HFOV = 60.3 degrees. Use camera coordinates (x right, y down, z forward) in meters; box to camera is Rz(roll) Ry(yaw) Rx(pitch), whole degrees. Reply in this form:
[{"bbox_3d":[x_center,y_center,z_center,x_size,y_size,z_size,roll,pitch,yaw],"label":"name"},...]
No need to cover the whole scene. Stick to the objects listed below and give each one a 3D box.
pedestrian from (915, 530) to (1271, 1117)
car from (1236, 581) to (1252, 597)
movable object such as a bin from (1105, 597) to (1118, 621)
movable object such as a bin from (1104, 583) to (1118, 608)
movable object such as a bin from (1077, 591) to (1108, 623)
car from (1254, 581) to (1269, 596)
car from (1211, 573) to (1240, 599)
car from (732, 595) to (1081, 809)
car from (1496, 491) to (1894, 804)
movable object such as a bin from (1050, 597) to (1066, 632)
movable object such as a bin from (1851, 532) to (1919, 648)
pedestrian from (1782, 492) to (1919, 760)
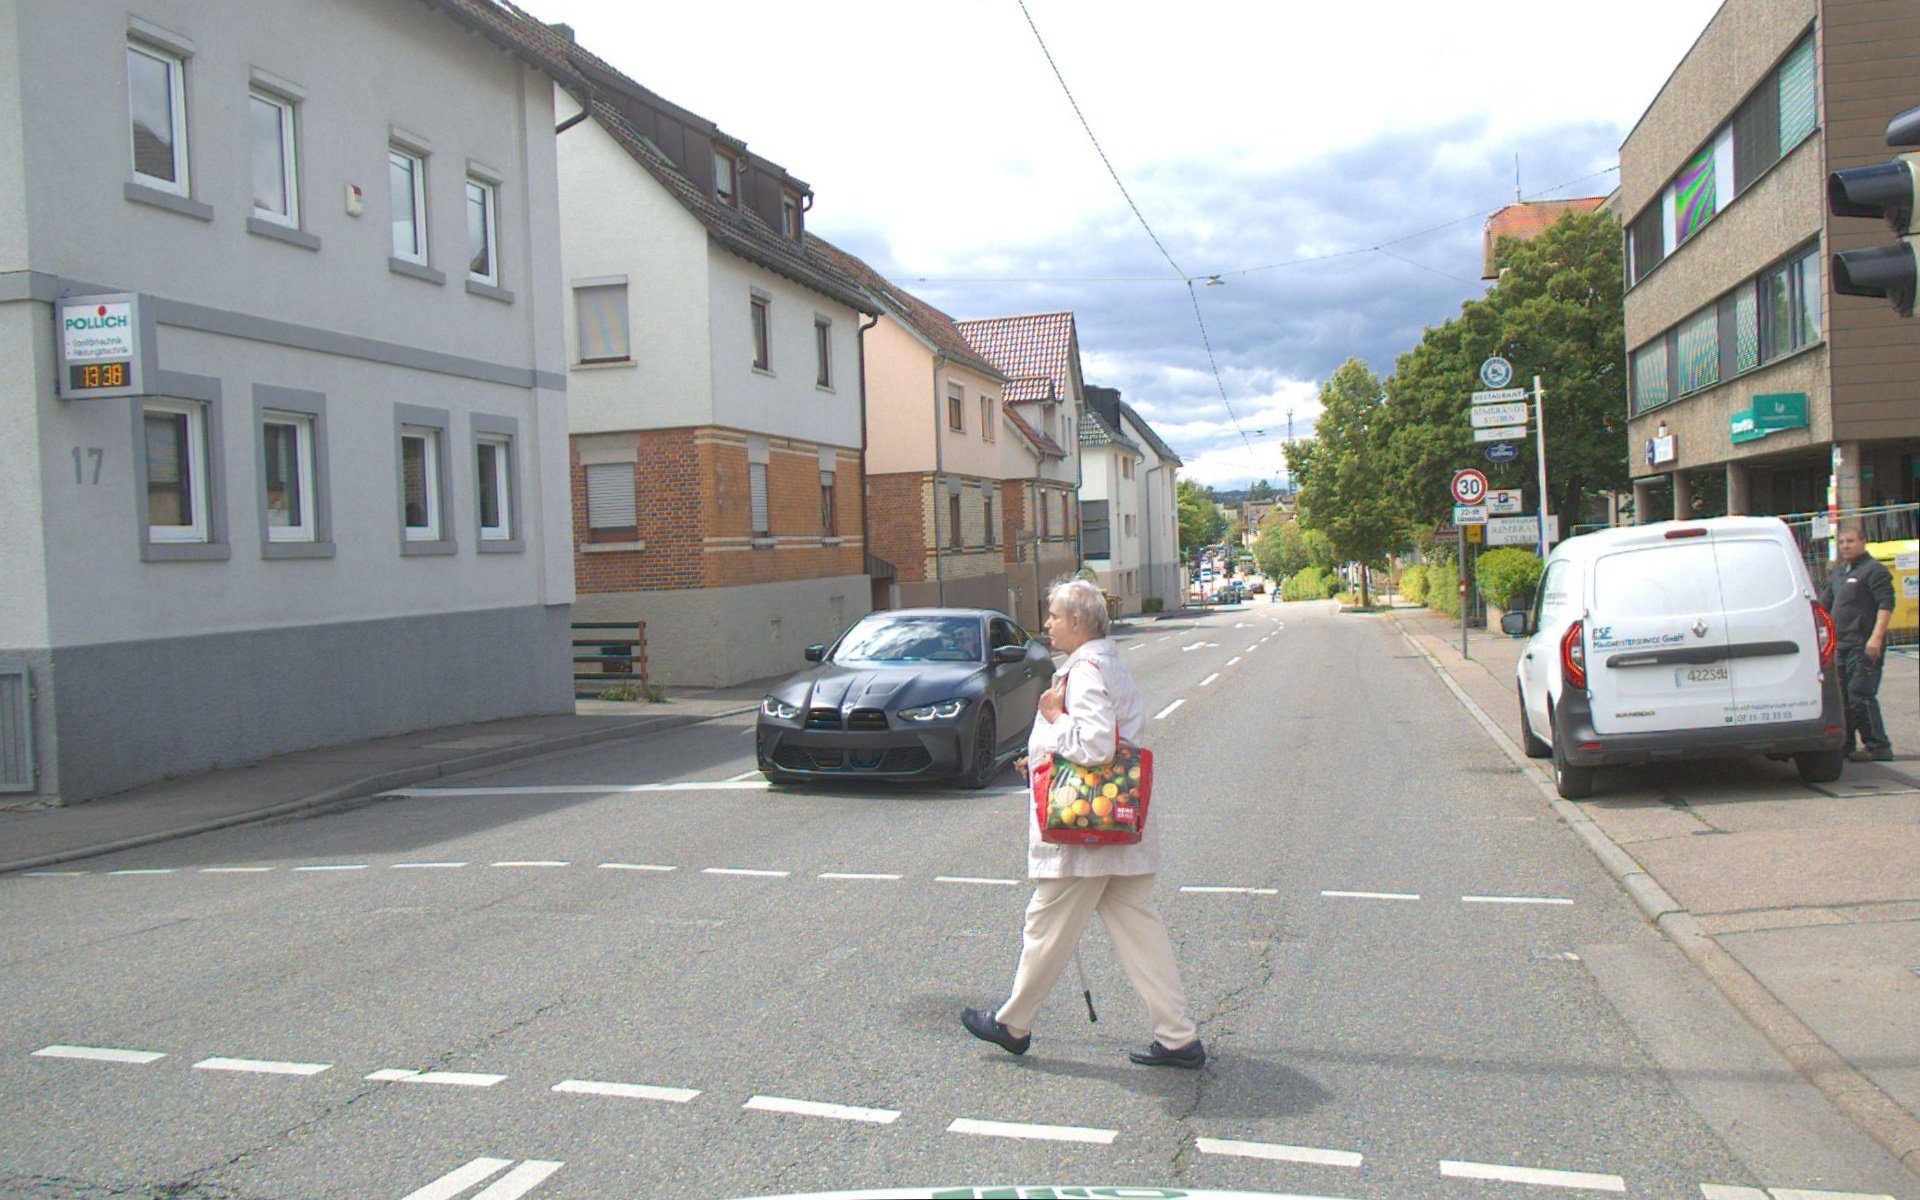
[{"bbox_3d":[0.444,0.636,5.256,0.853,1.666,0.836,-1,0,25],"label":"pedestrian"},{"bbox_3d":[38.255,-1.442,222.888,1.951,2.049,4.003,-3,-1,9],"label":"car"},{"bbox_3d":[6.703,0.407,73.226,0.520,1.048,0.455,-2,0,12],"label":"movable object such as a bin"},{"bbox_3d":[6.720,-0.201,73.597,0.520,1.048,0.455,-2,0,12],"label":"movable object such as a bin"},{"bbox_3d":[5.795,0.317,72.347,1.254,1.332,0.817,-2,0,8],"label":"movable object such as a bin"},{"bbox_3d":[43.328,-1.687,237.689,1.951,2.049,4.003,-3,-1,9],"label":"car"},{"bbox_3d":[21.997,-1.186,137.008,1.952,2.049,4.002,-2,0,4],"label":"car"},{"bbox_3d":[-0.266,0.783,14.805,1.951,1.482,4.621,-3,0,13],"label":"car"},{"bbox_3d":[5.346,0.306,12.689,1.871,1.825,4.494,-6,-1,14],"label":"car"},{"bbox_3d":[3.335,0.490,56.345,0.422,1.147,0.299,-3,0,12],"label":"movable object such as a bin"},{"bbox_3d":[13.266,-0.161,22.829,1.451,1.518,1.077,-3,2,16],"label":"movable object such as a bin"},{"bbox_3d":[6.504,0.181,11.903,0.825,1.834,0.651,-4,0,13],"label":"pedestrian"}]
